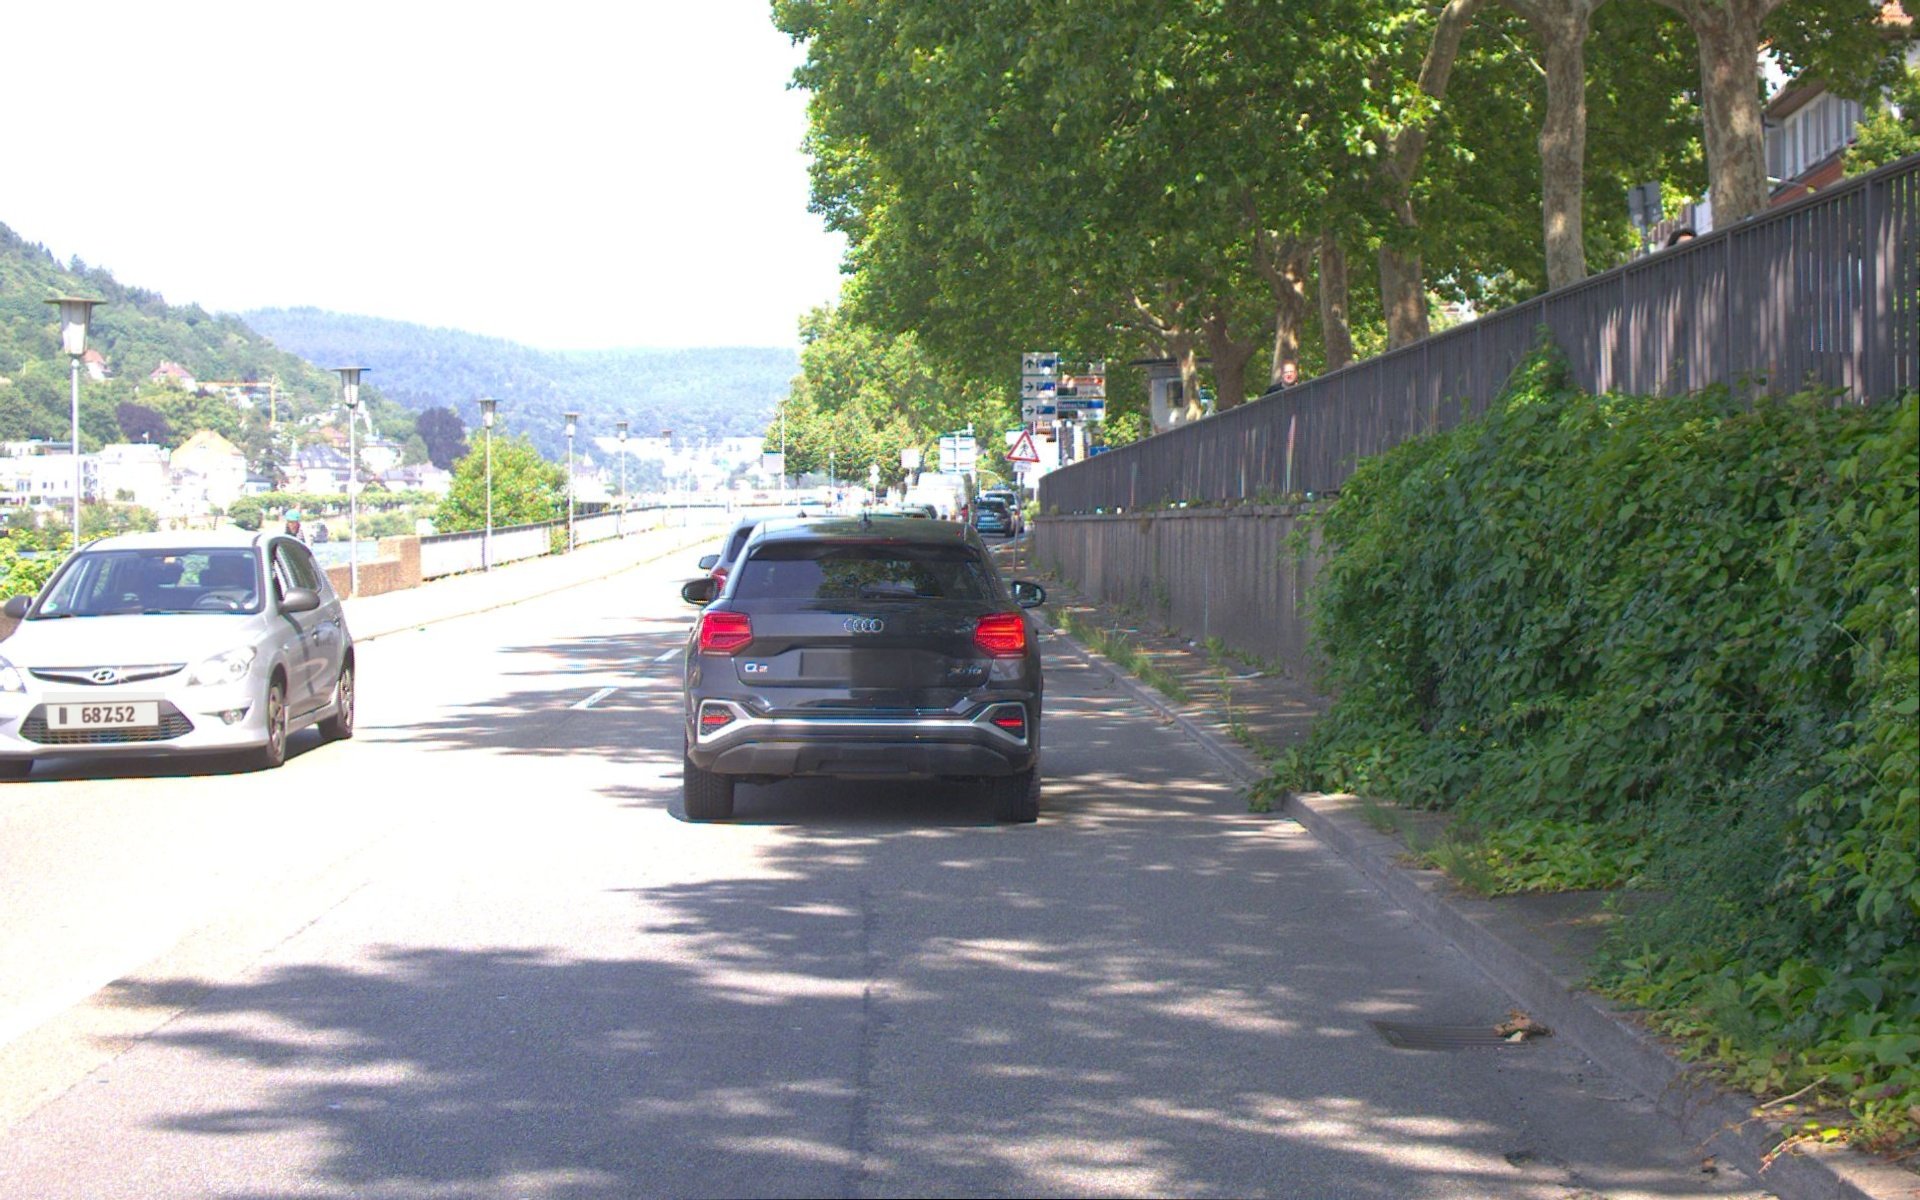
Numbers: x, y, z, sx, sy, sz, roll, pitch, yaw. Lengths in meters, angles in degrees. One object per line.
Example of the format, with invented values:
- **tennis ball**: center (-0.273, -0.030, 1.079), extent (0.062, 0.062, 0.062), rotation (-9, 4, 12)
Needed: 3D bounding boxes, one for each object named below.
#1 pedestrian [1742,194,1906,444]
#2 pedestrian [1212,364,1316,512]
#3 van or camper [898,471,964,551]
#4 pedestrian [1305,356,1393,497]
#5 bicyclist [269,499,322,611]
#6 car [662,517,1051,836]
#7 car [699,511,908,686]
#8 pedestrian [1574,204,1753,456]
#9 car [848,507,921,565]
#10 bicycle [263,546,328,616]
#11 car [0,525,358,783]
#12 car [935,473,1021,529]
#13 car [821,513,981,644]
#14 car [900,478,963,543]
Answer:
- **pedestrian**: center (4.969, -1.604, 19.815), extent (0.643, 1.361, 0.794), rotation (-3, 2, -3)
- **pedestrian**: center (3.394, -1.801, 38.445), extent (0.936, 1.574, 1.028), rotation (-3, 2, -3)
- **van or camper**: center (-1.037, -3.216, 124.518), extent (2.310, 2.837, 4.246), rotation (-1, 1, 0)
- **pedestrian**: center (3.912, -1.736, 34.649), extent (0.680, 1.361, 0.990), rotation (-3, 2, -2)
- **bicyclist**: center (-10.017, -0.682, 51.822), extent (0.637, 1.668, 0.871), rotation (-1, 1, -2)
- **car**: center (-0.554, 0.316, 18.245), extent (1.828, 1.481, 4.001), rotation (0, 2, -2)
- **car**: center (-1.435, -0.062, 32.113), extent (1.828, 1.506, 4.001), rotation (0, 2, -2)
- **pedestrian**: center (4.019, -1.530, 19.683), extent (0.753, 1.361, 0.814), rotation (-3, 2, -3)
- **car**: center (-1.952, -1.651, 87.796), extent (1.828, 1.439, 4.001), rotation (0, 2, -2)
- **bicycle**: center (-9.985, -0.291, 51.714), extent (0.632, 1.008, 1.986), rotation (-1, 1, -2)
- **car**: center (-5.045, 0.275, 22.035), extent (1.731, 1.437, 4.046), rotation (-2, 2, -2)
- **car**: center (0.684, -3.921, 135.971), extent (3.098, 2.006, 5.825), rotation (-3, 2, -2)
- **car**: center (-0.737, -0.295, 41.333), extent (1.828, 1.481, 4.001), rotation (0, 2, -2)
- **car**: center (-0.982, -3.024, 115.706), extent (1.993, 2.162, 4.001), rotation (0, 2, -2)
